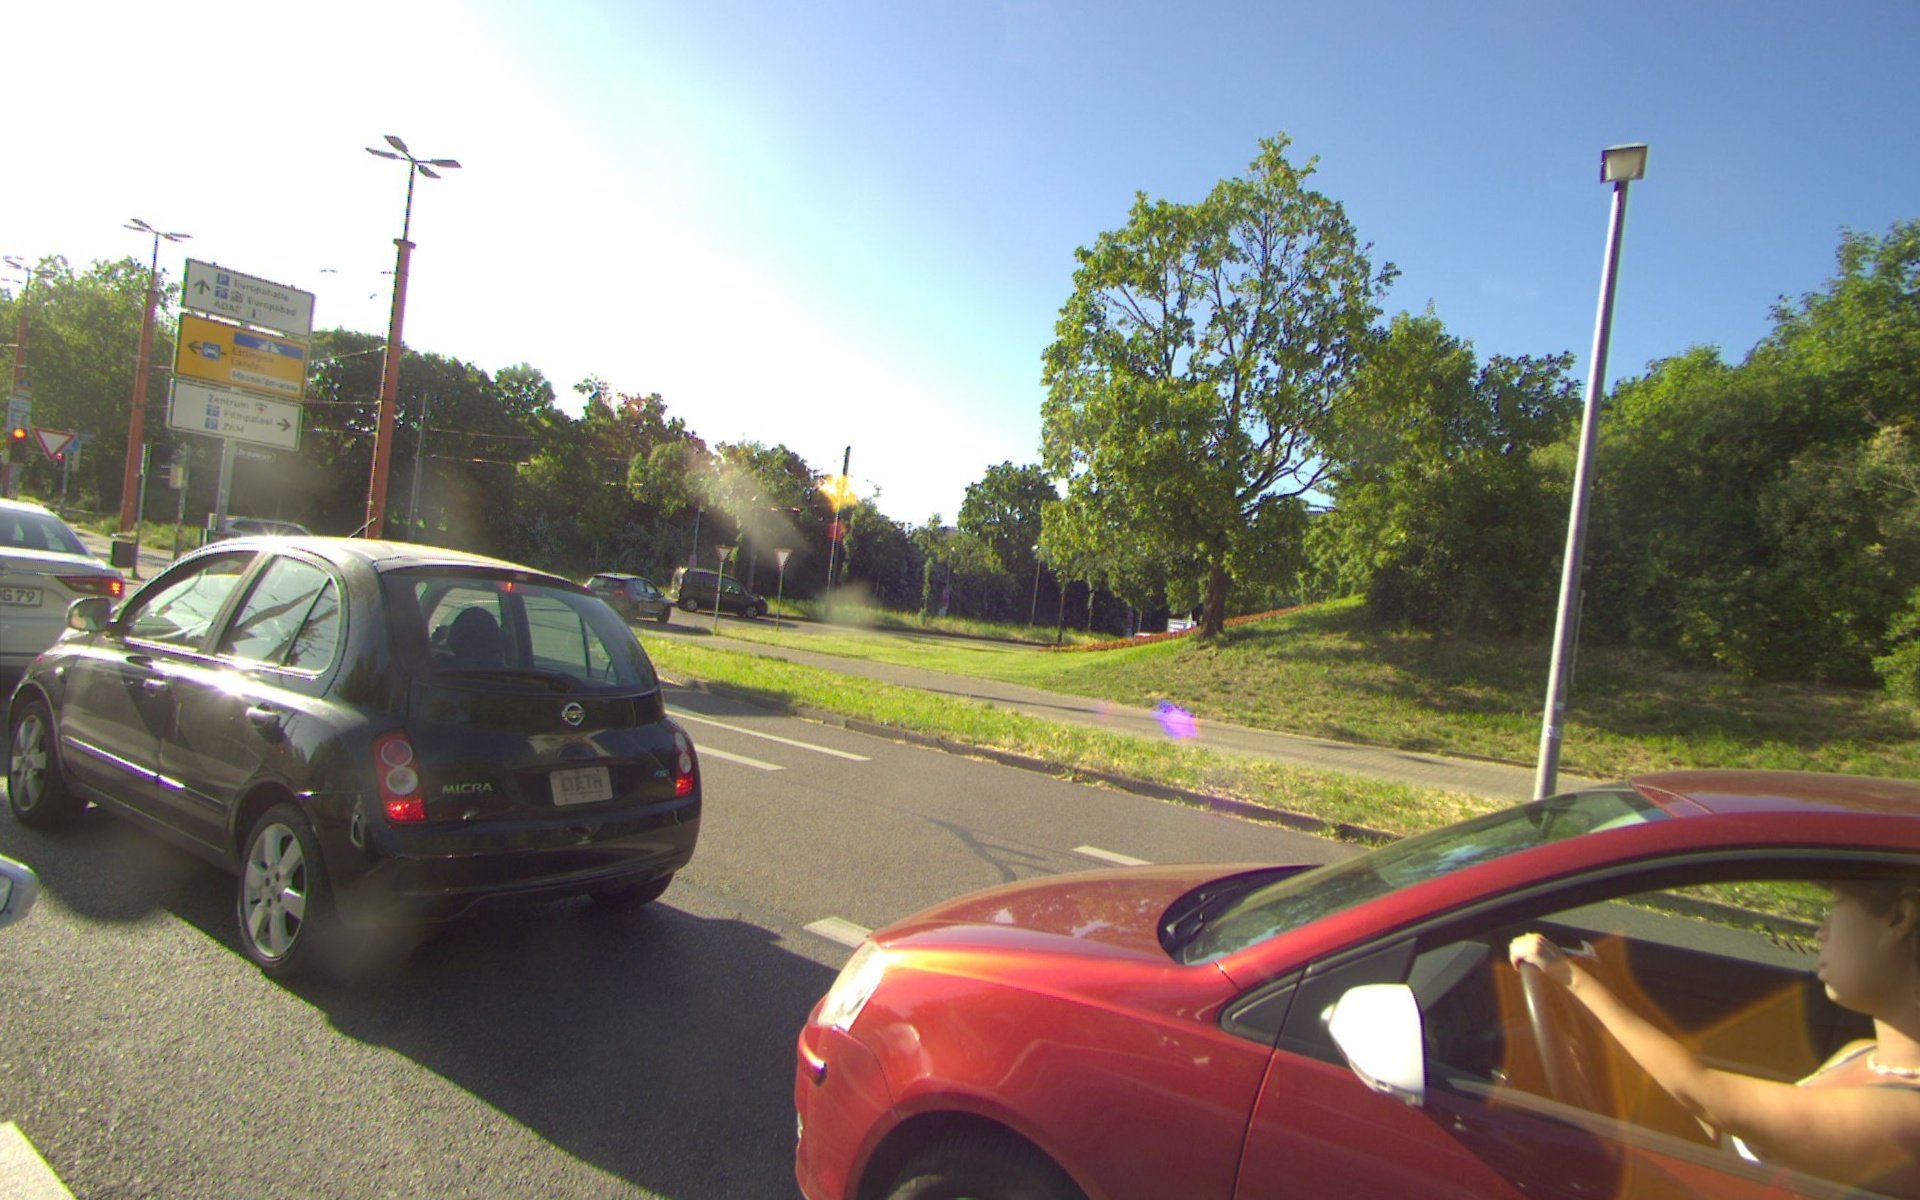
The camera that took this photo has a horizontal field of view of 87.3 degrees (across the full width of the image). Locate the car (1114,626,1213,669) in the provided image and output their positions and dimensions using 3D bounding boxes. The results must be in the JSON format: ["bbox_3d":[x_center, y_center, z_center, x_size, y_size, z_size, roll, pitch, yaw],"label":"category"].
[{"bbox_3d":[10.770,2.512,53.115,4.876,1.594,1.985,8,-1,-29],"label":"car"}]

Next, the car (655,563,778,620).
[{"bbox_3d":[-10.604,-0.349,43.937,4.742,1.858,1.900,8,-1,-29],"label":"car"}]

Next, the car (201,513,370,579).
[{"bbox_3d":[-24.070,-1.896,36.130,4.742,1.617,1.900,8,-1,-29],"label":"car"}]

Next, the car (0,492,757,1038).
[{"bbox_3d":[-2.829,0.466,4.629,3.457,1.524,1.558,7,0,32],"label":"car"}]

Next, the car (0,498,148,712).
[{"bbox_3d":[-8.354,-0.161,7.982,4.077,1.472,1.717,7,-1,33],"label":"car"}]

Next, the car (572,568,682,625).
[{"bbox_3d":[-10.638,-0.068,32.394,1.718,1.486,3.895,7,-1,7],"label":"car"}]

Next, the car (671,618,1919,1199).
[{"bbox_3d":[1.363,0.992,1.898,3.634,1.434,1.624,7,-1,34],"label":"car"}]
